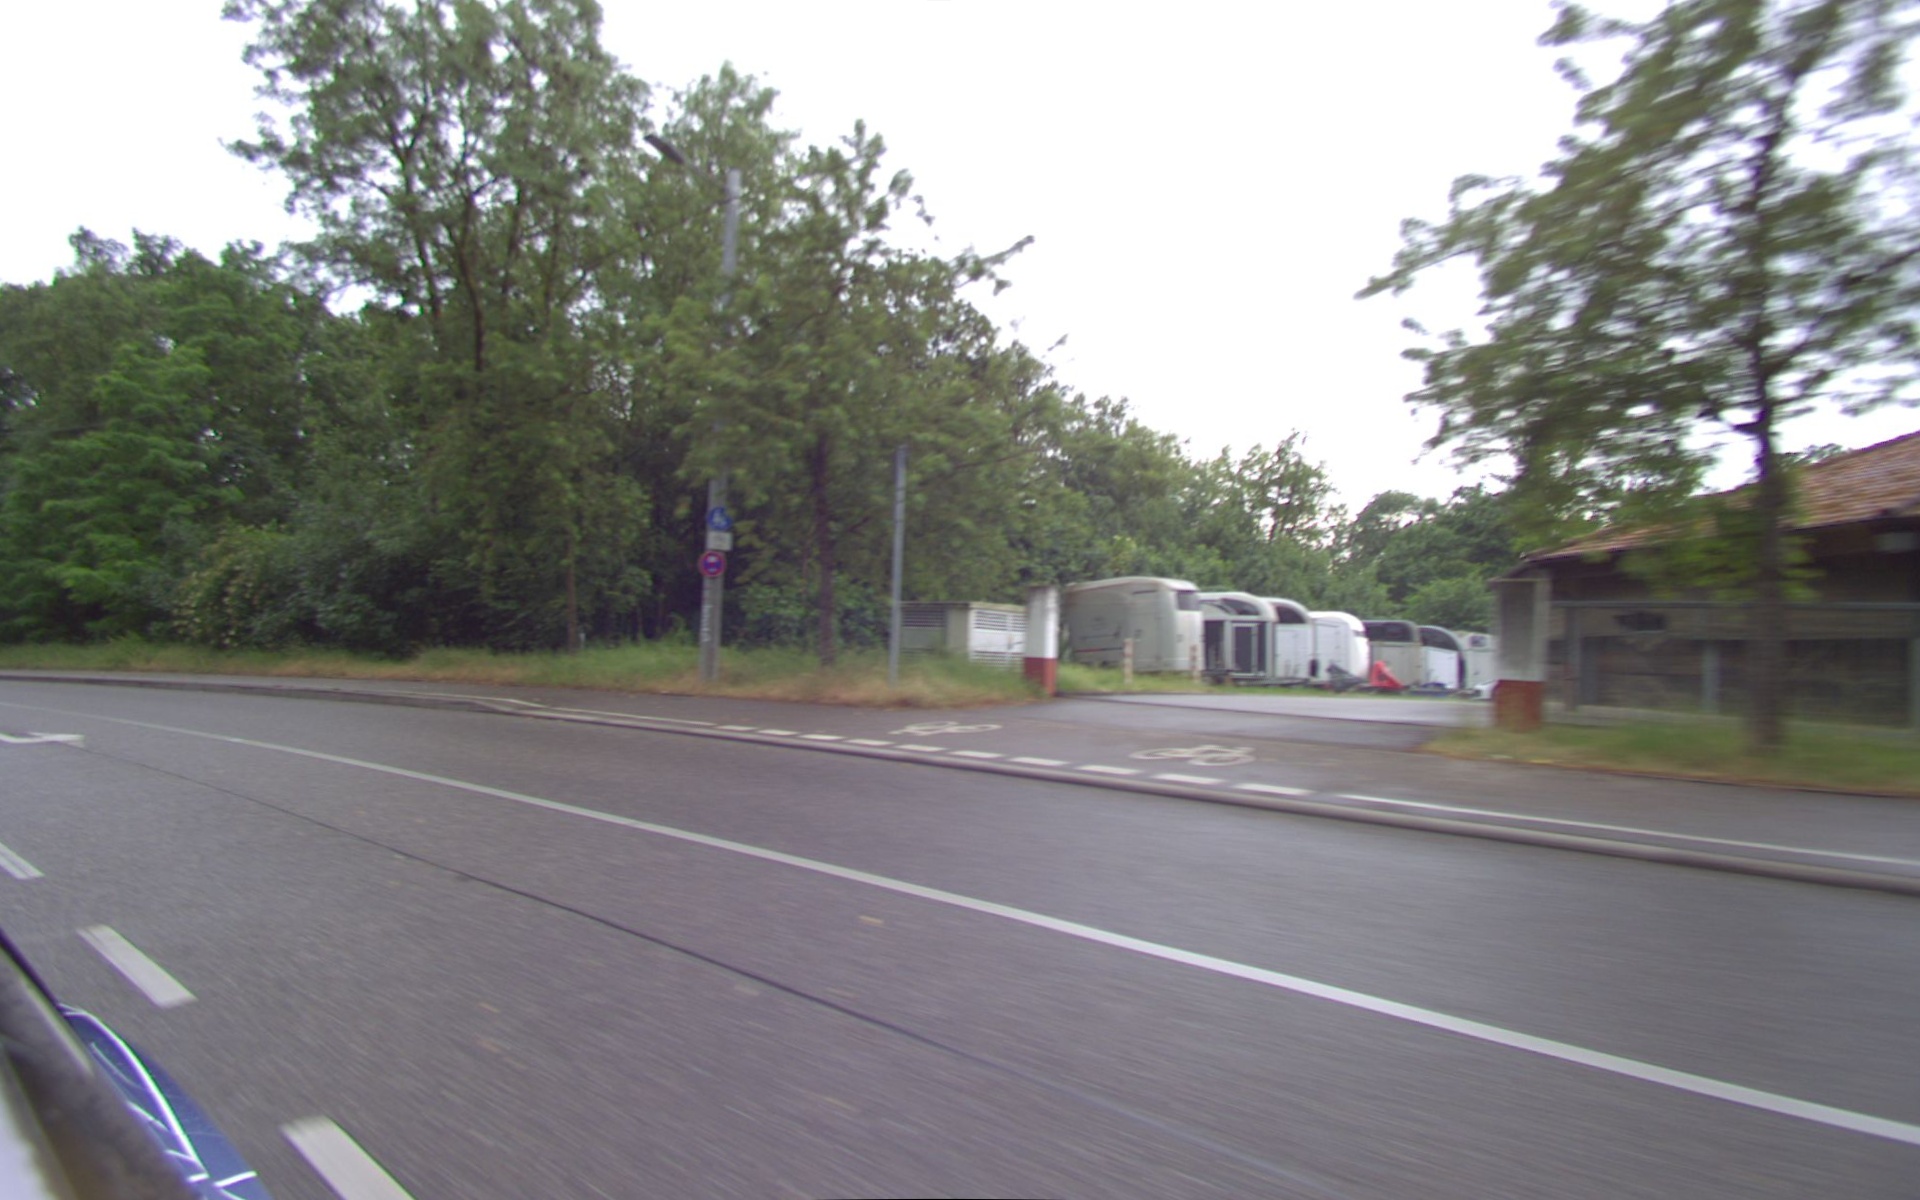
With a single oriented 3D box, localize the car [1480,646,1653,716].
[{"bbox_3d":[20.014,2.652,33.483,4.787,2.029,1.964,0,-6,34],"label":"car"}]
